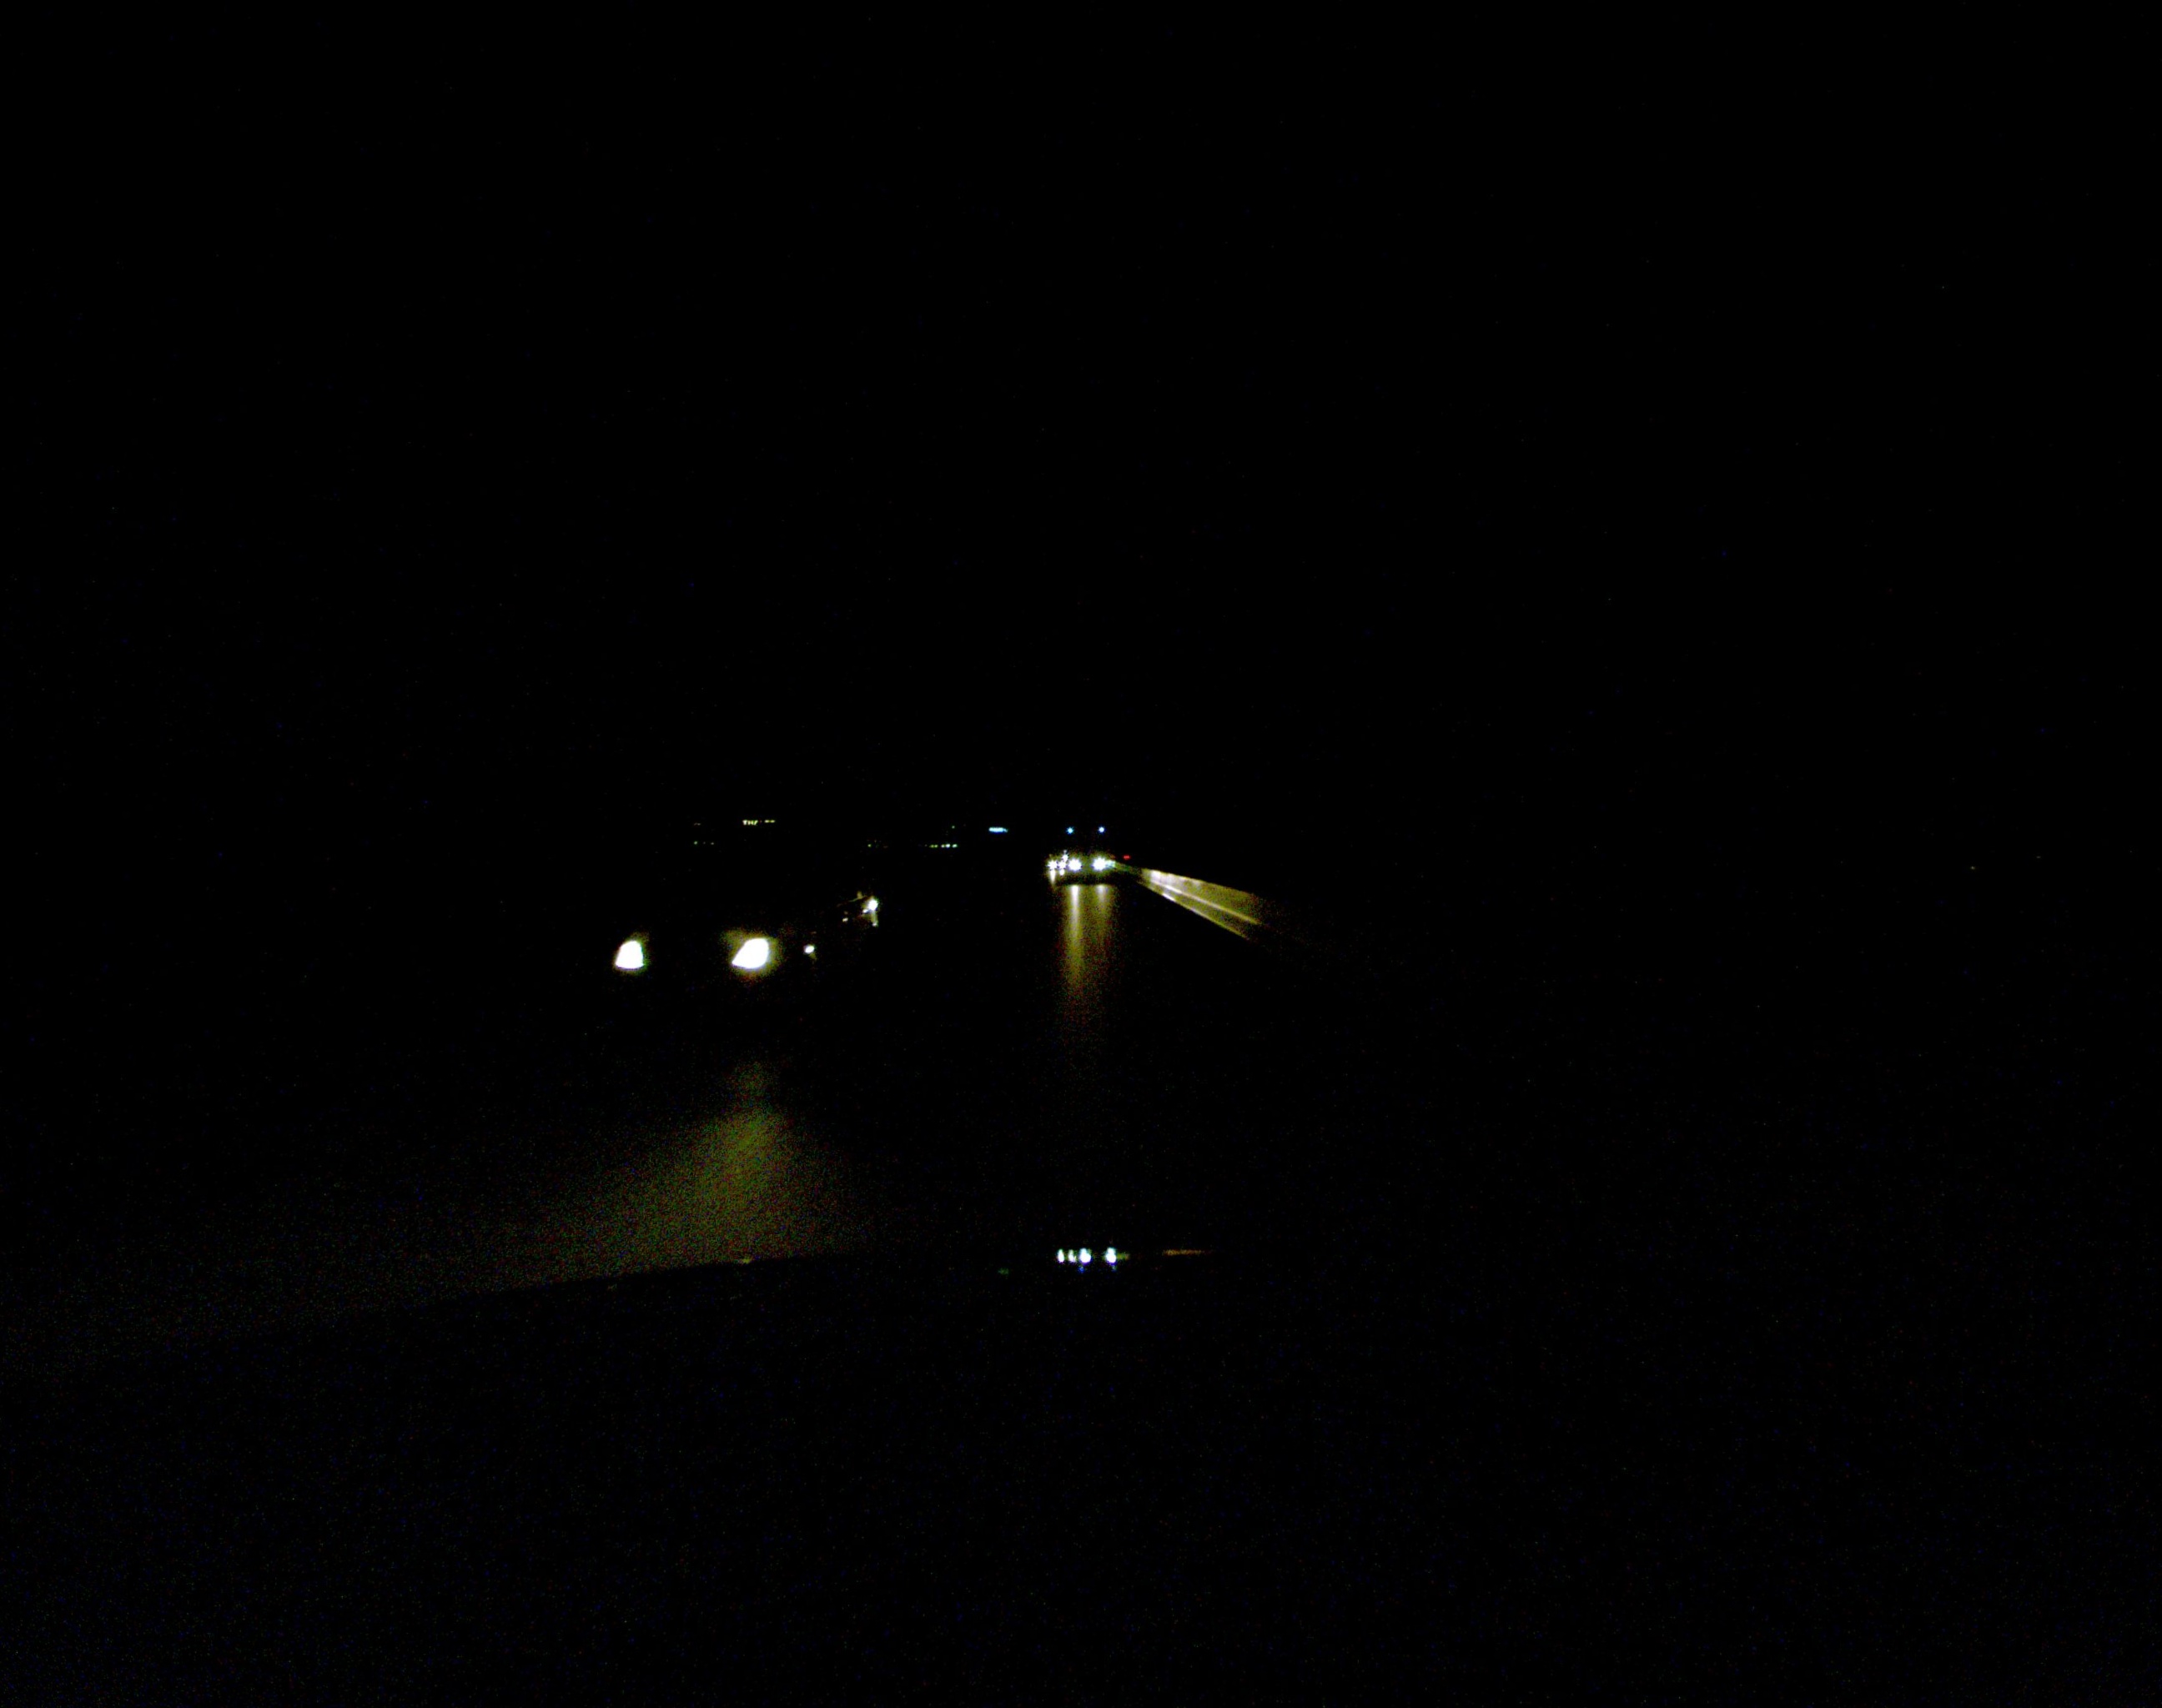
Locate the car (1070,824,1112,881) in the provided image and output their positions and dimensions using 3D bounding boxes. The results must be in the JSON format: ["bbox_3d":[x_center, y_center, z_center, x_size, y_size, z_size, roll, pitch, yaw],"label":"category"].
[{"bbox_3d":[0.613,-0.111,46.483,2.255,3.205,6.878,-2,1,1],"label":"car"}]

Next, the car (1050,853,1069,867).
[{"bbox_3d":[-2.530,0.706,88.568,1.998,1.576,4.128,-2,0,1],"label":"car"}]

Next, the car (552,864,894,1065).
[{"bbox_3d":[-3.547,0.958,8.606,1.650,1.587,4.510,-1,0,1],"label":"car"}]
